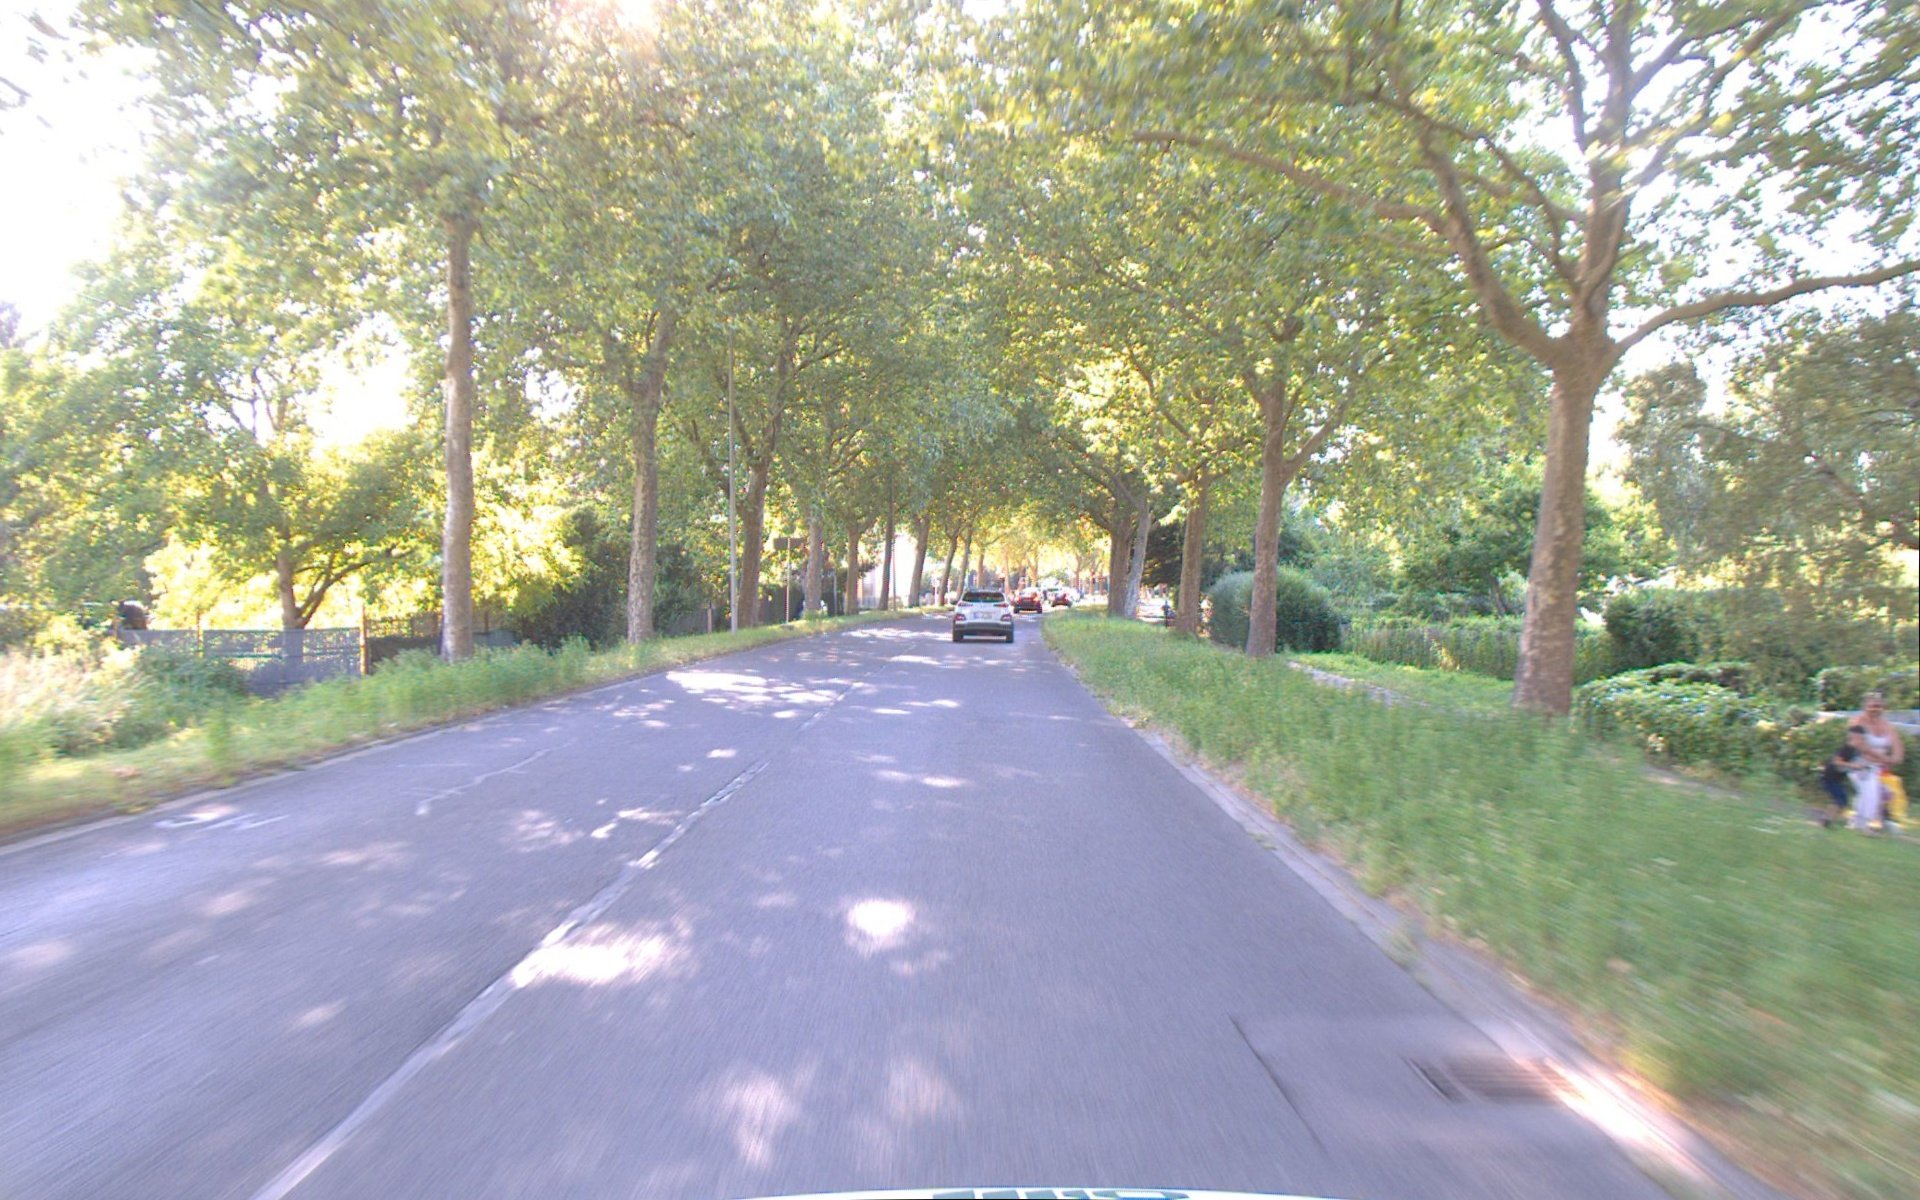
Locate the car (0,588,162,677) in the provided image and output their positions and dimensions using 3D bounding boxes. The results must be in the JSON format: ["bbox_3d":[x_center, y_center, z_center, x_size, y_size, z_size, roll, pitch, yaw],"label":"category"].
[{"bbox_3d":[-21.851,0.754,40.258,3.902,2.049,2.002,1,0,10],"label":"car"}]

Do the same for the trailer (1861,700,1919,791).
[{"bbox_3d":[12.923,1.876,21.219,2.073,1.071,1.201,1,0,4],"label":"trailer"}]

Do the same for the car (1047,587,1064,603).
[{"bbox_3d":[12.691,-0.636,219.519,1.951,2.049,4.002,1,0,5],"label":"car"}]

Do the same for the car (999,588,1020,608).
[{"bbox_3d":[5.305,-0.231,177.963,1.951,2.049,4.003,1,0,6],"label":"car"}]

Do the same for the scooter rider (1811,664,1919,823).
[{"bbox_3d":[9.715,1.508,17.676,0.834,1.604,0.776,1,-1,-32],"label":"scooter rider"}]

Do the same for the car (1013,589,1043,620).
[{"bbox_3d":[4.534,0.301,110.861,1.952,2.049,4.001,1,0,2],"label":"car"}]

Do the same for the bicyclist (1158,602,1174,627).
[{"bbox_3d":[11.606,0.803,93.206,0.720,1.390,0.770,1,0,-6],"label":"bicyclist"}]

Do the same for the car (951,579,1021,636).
[{"bbox_3d":[0.797,0.209,49.115,1.952,1.602,4.001,1,0,1],"label":"car"}]

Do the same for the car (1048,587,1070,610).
[{"bbox_3d":[9.128,-0.091,152.073,1.952,2.049,4.001,1,0,3],"label":"car"}]

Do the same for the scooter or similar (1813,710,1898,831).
[{"bbox_3d":[9.459,1.774,17.451,1.587,1.155,0.335,1,-1,-45],"label":"scooter or similar"}]

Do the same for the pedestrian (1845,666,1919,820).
[{"bbox_3d":[10.327,1.560,18.318,0.770,1.604,0.840,1,-1,40],"label":"pedestrian"}]

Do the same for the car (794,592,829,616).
[{"bbox_3d":[-9.200,0.241,102.456,1.716,1.327,4.001,-1,1,1],"label":"car"}]
